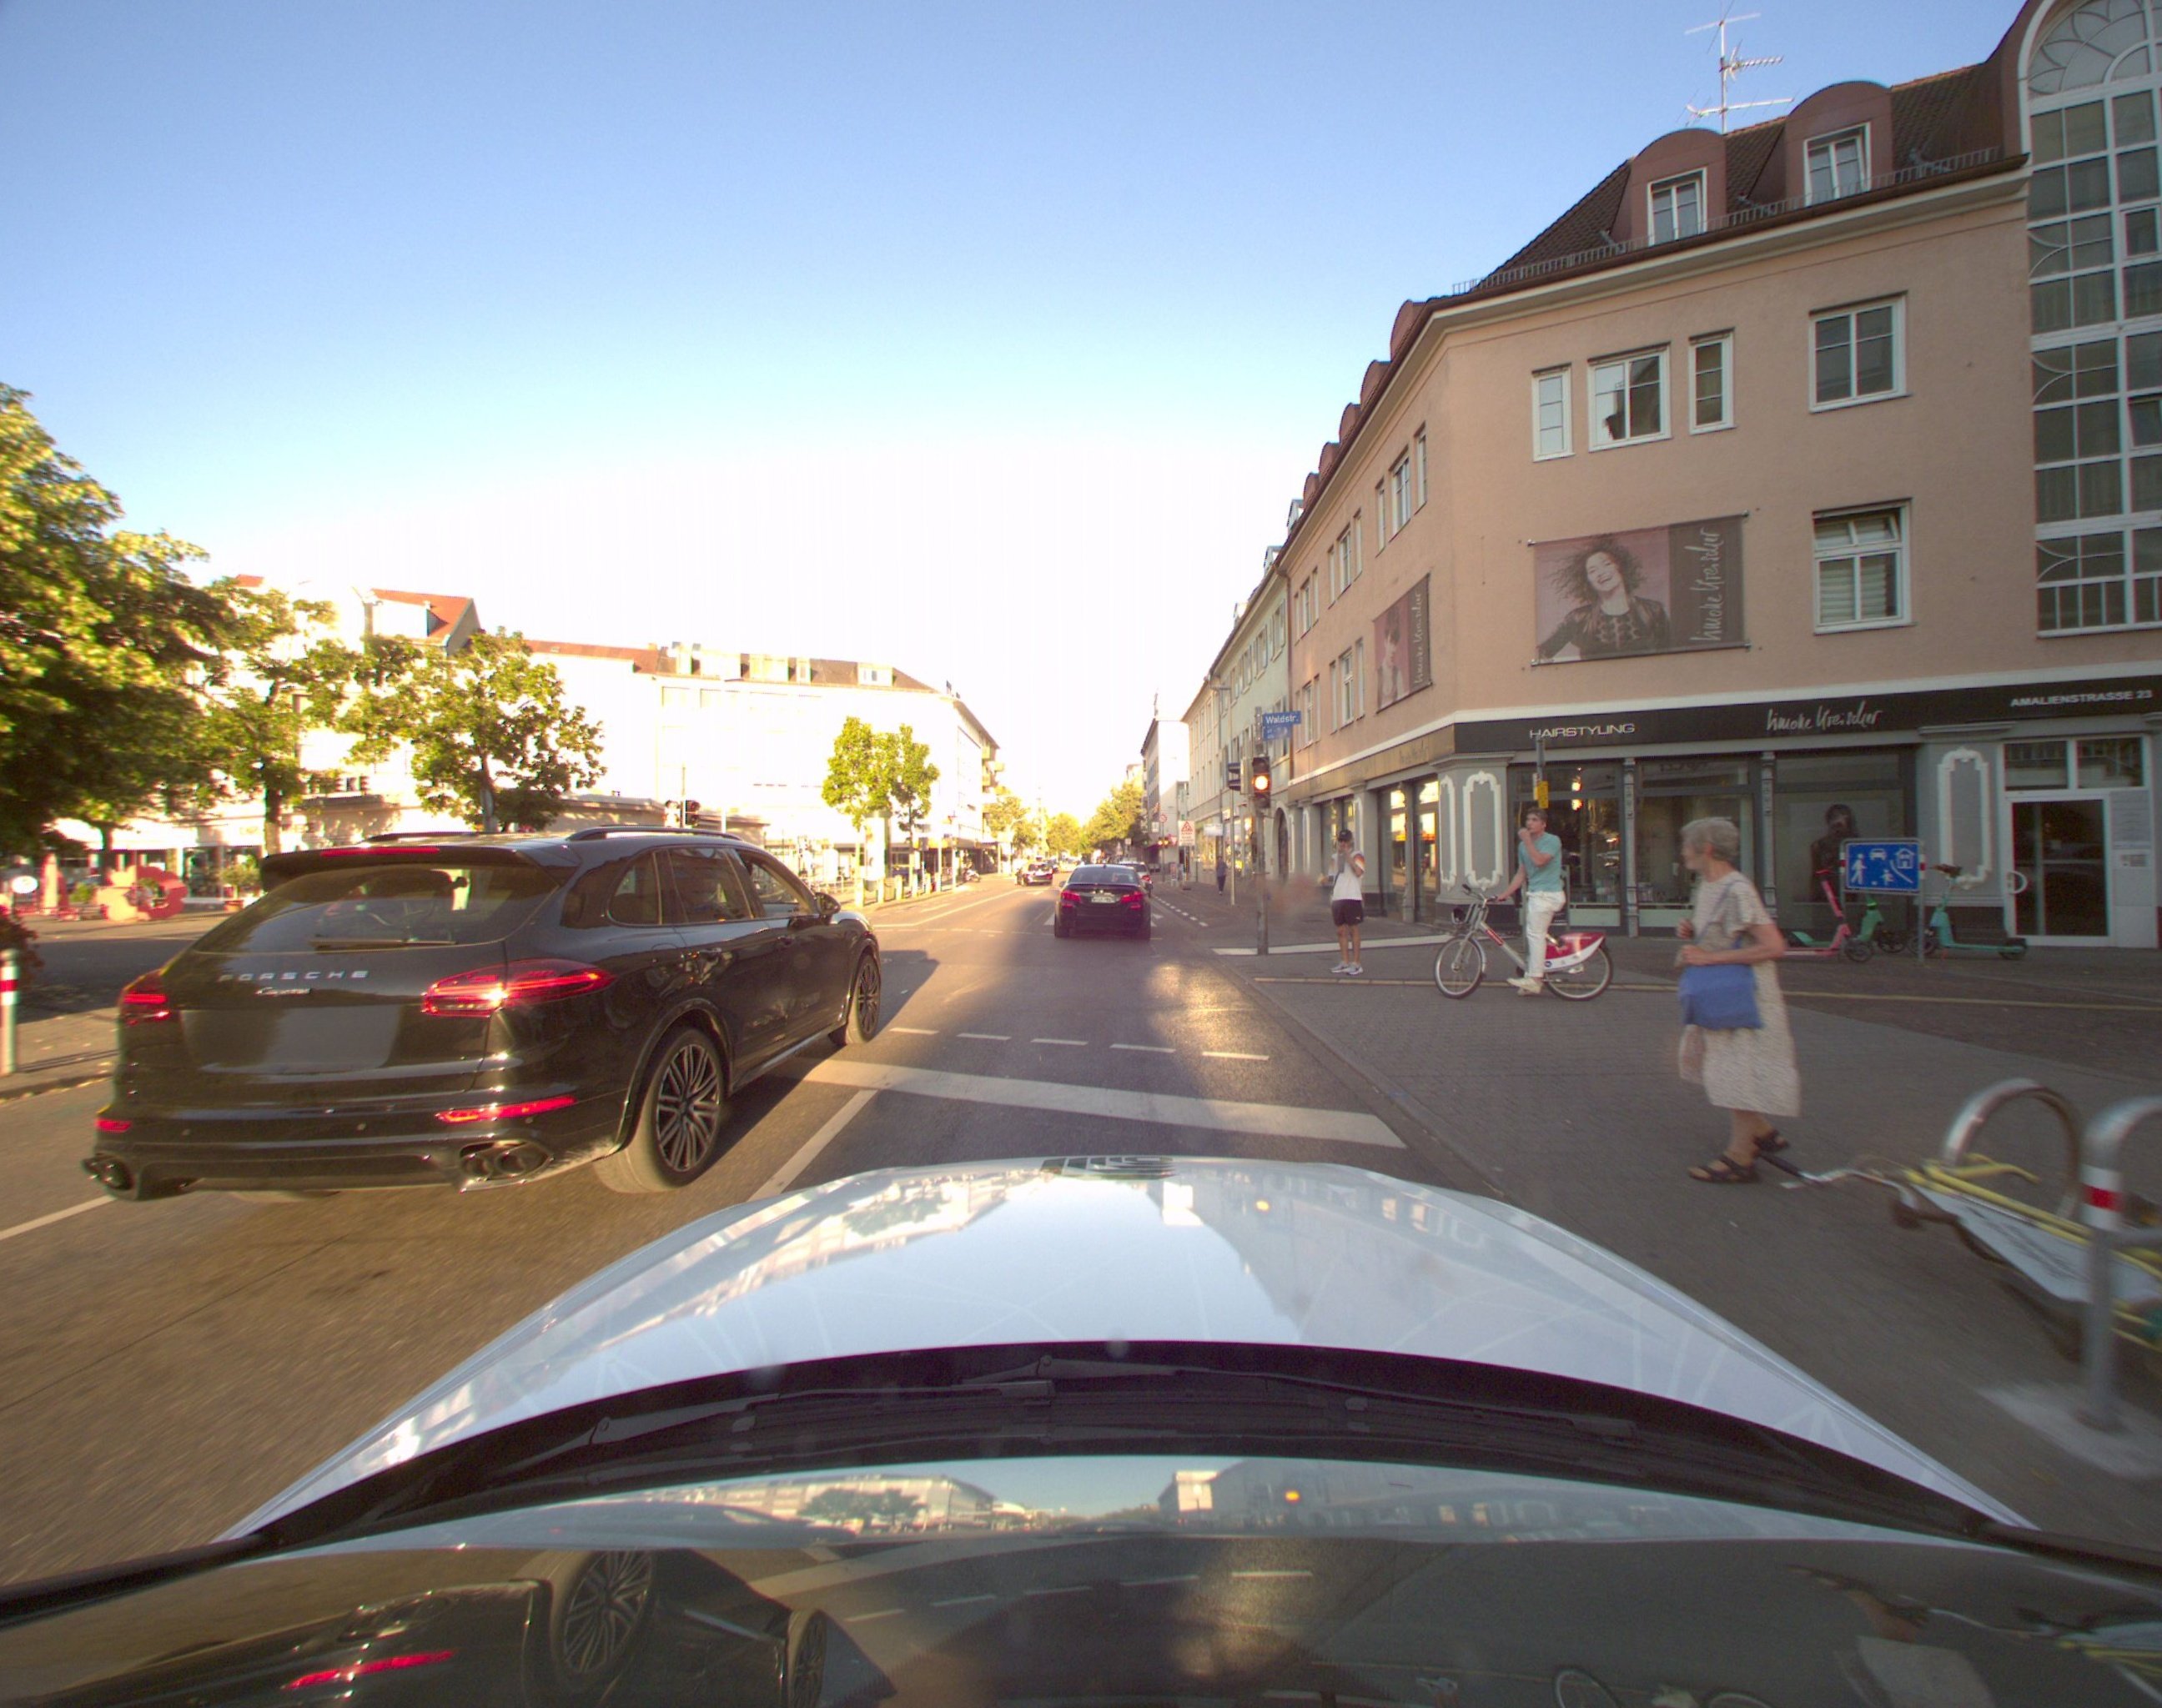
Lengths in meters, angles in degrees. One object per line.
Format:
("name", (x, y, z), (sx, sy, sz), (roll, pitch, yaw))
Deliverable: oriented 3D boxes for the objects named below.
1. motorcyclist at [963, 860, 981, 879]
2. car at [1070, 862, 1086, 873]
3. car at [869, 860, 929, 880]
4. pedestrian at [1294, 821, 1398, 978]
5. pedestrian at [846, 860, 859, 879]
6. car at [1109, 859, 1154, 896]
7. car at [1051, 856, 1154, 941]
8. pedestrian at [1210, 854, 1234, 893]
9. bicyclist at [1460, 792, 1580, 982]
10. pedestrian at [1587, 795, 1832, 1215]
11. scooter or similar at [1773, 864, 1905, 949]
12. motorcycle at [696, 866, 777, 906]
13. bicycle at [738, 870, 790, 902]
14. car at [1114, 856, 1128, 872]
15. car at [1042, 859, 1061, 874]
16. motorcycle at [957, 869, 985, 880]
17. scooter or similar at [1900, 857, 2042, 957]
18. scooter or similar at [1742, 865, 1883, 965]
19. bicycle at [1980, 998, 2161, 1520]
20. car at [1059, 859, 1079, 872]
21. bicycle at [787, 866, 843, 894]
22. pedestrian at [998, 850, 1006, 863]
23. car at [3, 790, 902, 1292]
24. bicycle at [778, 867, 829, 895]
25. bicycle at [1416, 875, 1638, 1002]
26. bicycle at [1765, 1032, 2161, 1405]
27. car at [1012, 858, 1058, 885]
("motorcyclist", (-7.753, 1.072, 57.979), (0.981, 1.320, 0.773), (-1, -1, 35))
("car", (-0.374, 1.671, 102.648), (1.731, 1.293, 3.993), (-1, 0, -5))
("car", (-13.809, 1.203, 61.819), (3.962, 1.486, 2.005), (0, 0, 10))
("pedestrian", (3.384, 0.551, 10.419), (0.943, 1.897, 0.818), (-1, -1, -30))
("pedestrian", (-19.357, 1.293, 68.950), (0.950, 1.537, 0.901), (0, -1, -24))
("car", (2.295, 1.042, 37.818), (1.827, 1.576, 4.099), (0, 0, -1))
("car", (0.405, 0.825, 17.211), (1.897, 1.540, 4.449), (0, 0, 0))
("pedestrian", (5.970, 0.826, 34.581), (0.821, 1.642, 0.871), (-1, -1, -1))
("bicyclist", (4.434, 0.324, 8.297), (0.828, 1.826, 0.833), (-1, -1, 9))
("pedestrian", (2.906, 0.597, 3.765), (0.782, 1.653, 0.785), (-2, -1, 44))
("scooter or similar", (10.566, 0.718, 11.393), (1.289, 1.143, 0.366), (-1, -1, 28))
("motorcycle", (-12.641, 1.164, 29.907), (2.571, 1.429, 0.868), (-1, -1, 2))
("bicycle", (-12.897, 1.290, 33.121), (1.846, 1.256, 0.633), (-1, -1, 2))
("car", (4.846, 1.186, 99.015), (1.417, 1.855, 3.050), (0, -1, -2))
("car", (-3.290, 1.328, 90.399), (1.990, 1.618, 3.993), (-1, 0, -5))
("motorcycle", (-7.833, 1.477, 57.960), (2.007, 0.780, 0.668), (-1, -1, 33))
("scooter or similar", (11.608, 0.675, 10.655), (1.189, 1.260, 0.366), (-1, -1, 26))
("scooter or similar", (9.355, 0.758, 10.458), (1.242, 1.214, 0.470), (-1, -1, 24))
("bicycle", (3.260, 0.909, 1.897), (1.782, 1.063, 0.716), (-2, 0, -10))
("car", (-1.438, 1.341, 95.894), (1.990, 1.442, 3.993), (-1, 0, -5))
("bicycle", (-12.715, 1.250, 38.966), (2.434, 1.256, 0.788), (-1, -1, 2))
("pedestrian", (-10.004, 0.350, 103.161), (0.820, 1.676, 0.871), (-1, -1, 0))
("car", (-2.709, 0.662, 5.116), (1.941, 1.714, 4.564), (-1, 0, 2))
("bicycle", (-12.843, 1.249, 37.665), (1.997, 1.256, 0.950), (-1, -1, 2))
("bicycle", (4.474, 0.832, 8.310), (1.808, 1.186, 0.796), (-1, -1, 10))
("bicycle", (3.179, 1.058, 2.660), (1.004, 0.681, 1.047), (-1, 0, -8))
("car", (-2.924, 1.063, 50.927), (1.877, 1.595, 4.424), (0, 0, -17))
